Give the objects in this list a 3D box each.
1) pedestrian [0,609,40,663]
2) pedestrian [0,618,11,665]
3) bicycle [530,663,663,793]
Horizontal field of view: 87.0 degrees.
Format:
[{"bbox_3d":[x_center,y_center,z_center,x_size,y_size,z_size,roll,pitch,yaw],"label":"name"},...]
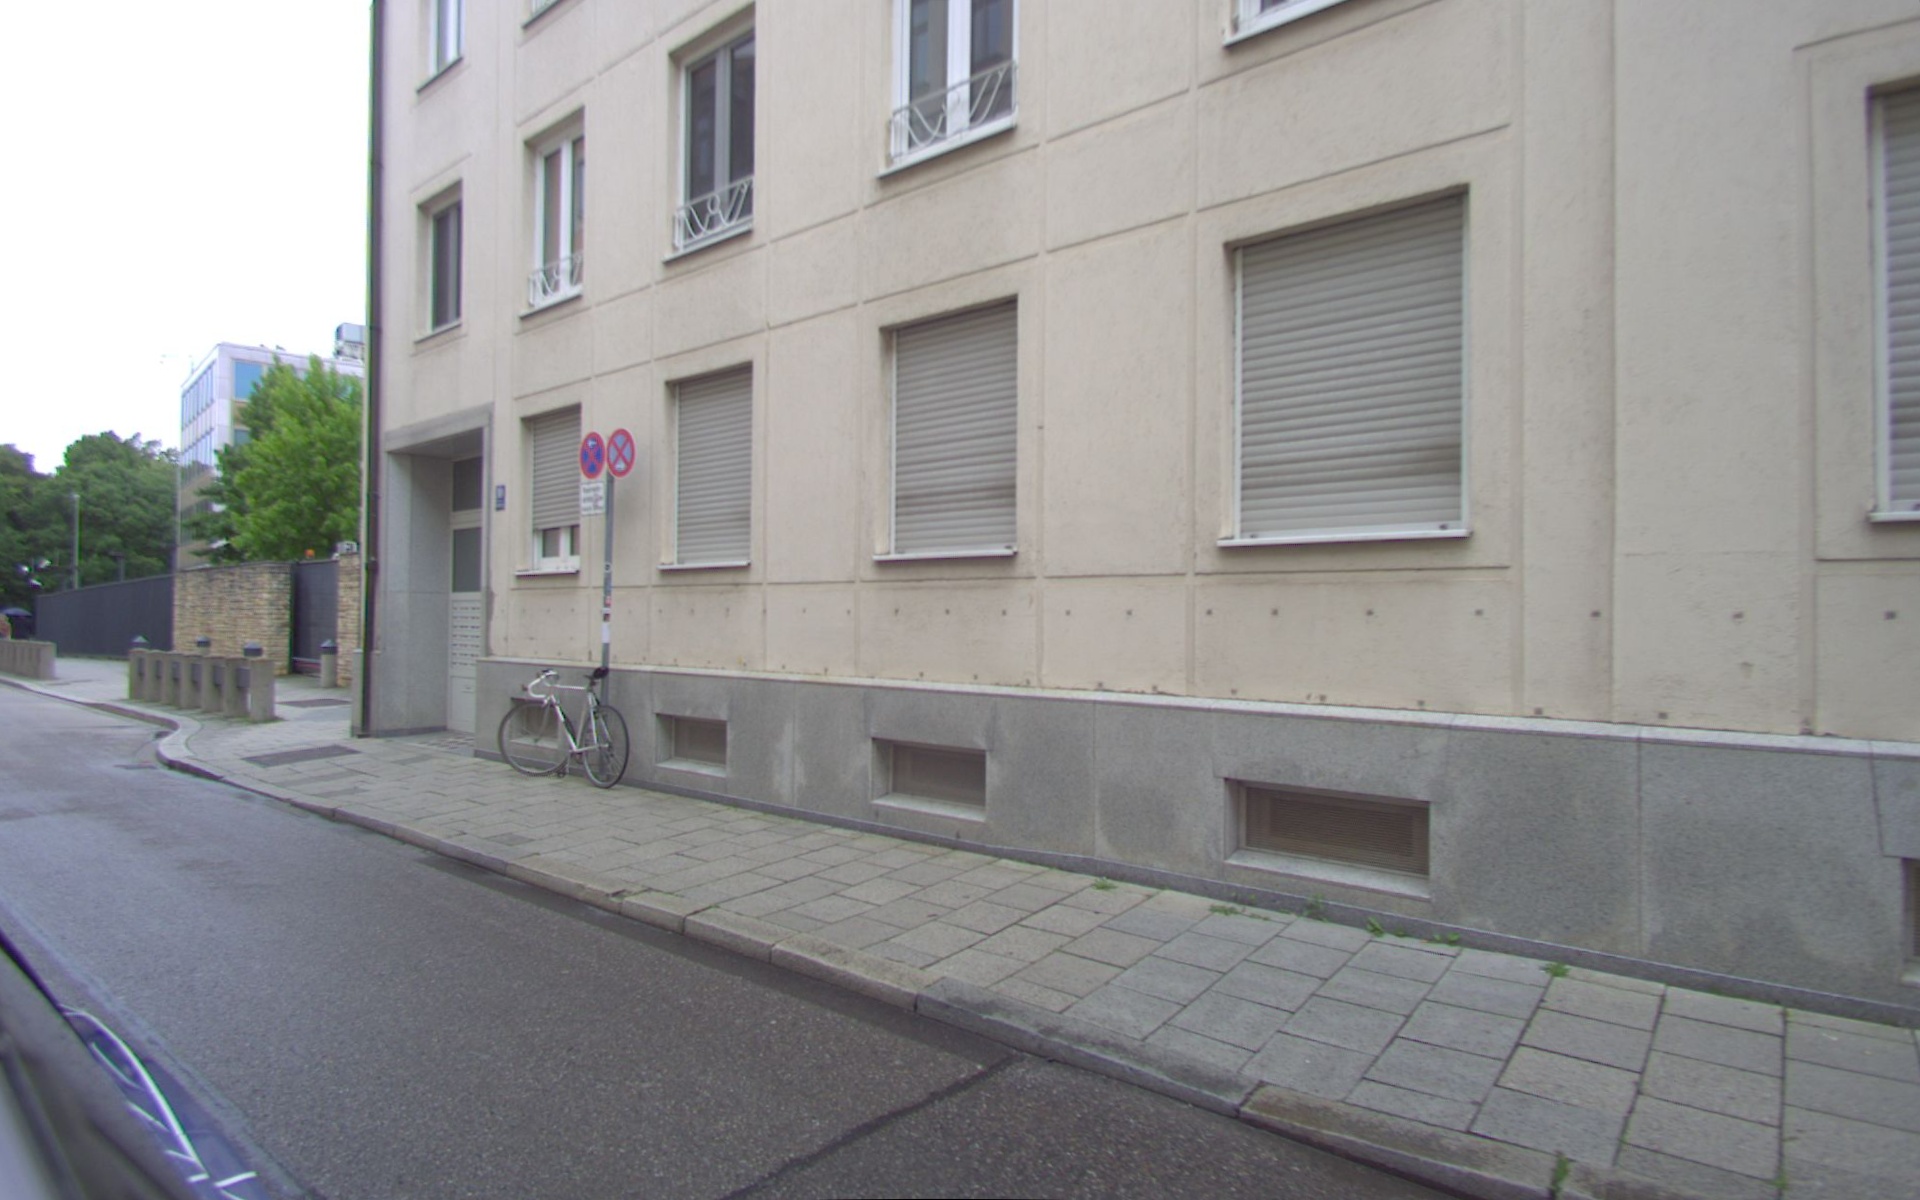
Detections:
[{"bbox_3d":[-37.339,1.418,40.072,1.116,2.120,1.210,-2,-3,42],"label":"pedestrian"},{"bbox_3d":[-36.094,1.544,37.841,0.906,1.736,0.815,-2,-1,45],"label":"pedestrian"},{"bbox_3d":[-3.103,1.040,8.559,1.573,0.951,0.316,-1,1,42],"label":"bicycle"}]
